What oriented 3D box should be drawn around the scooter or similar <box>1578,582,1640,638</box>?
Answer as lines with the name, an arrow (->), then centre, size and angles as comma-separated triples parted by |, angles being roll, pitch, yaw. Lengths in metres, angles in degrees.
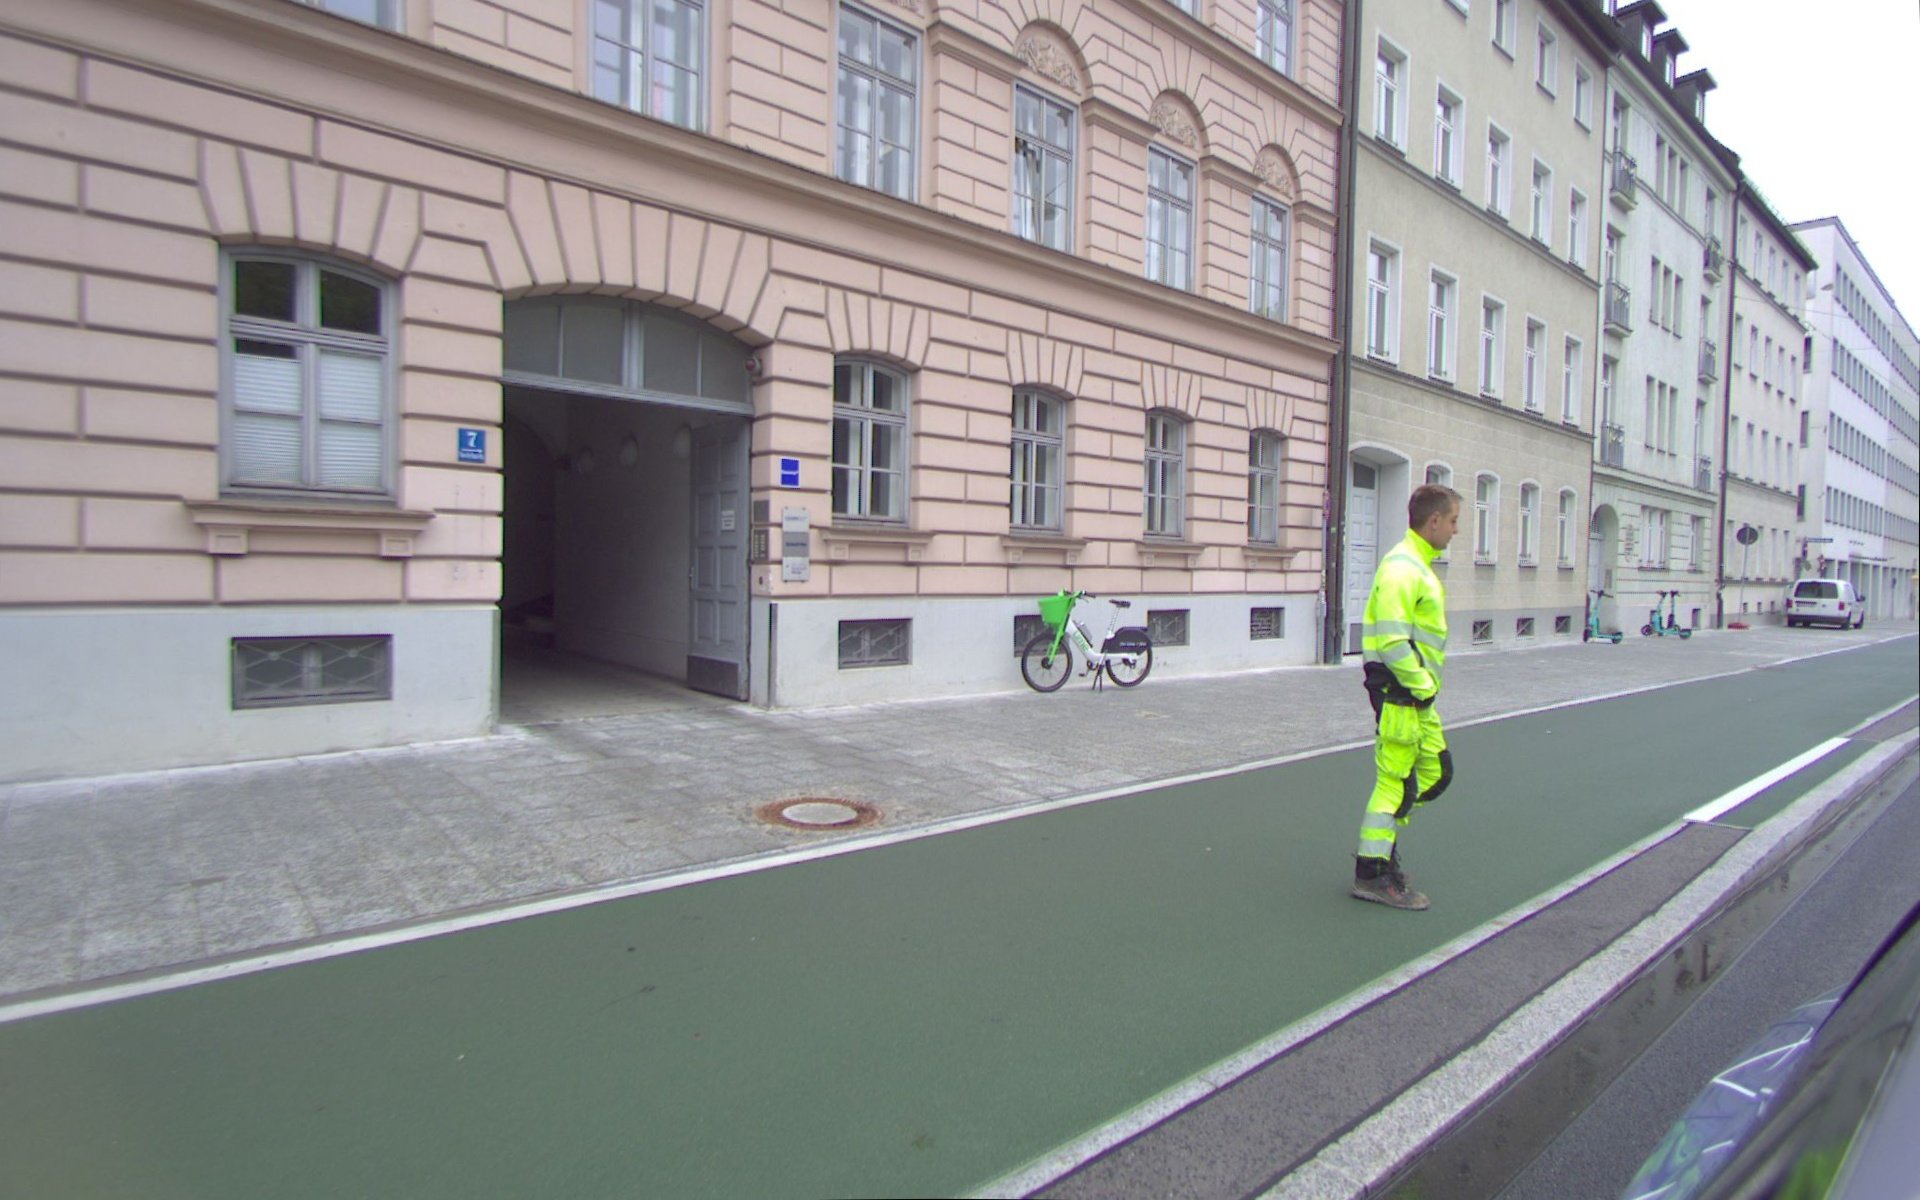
scooter or similar -> 15.137, 0.231, 23.624 | 1.055, 1.260, 0.554 | 1, 1, -6

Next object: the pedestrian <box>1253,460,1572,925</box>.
pedestrian -> 1.901, 0.356, 4.400 | 0.974, 1.825, 0.815 | 1, 1, 0

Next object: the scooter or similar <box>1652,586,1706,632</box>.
scooter or similar -> 19.668, 0.237, 27.693 | 1.059, 1.207, 0.436 | 2, 1, 10

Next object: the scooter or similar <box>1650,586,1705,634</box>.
scooter or similar -> 18.860, 0.242, 26.619 | 1.063, 1.207, 0.451 | 2, 2, 20

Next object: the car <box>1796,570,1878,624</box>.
car -> 32.456, -0.144, 37.427 | 3.931, 1.854, 1.764 | -1, 2, -42

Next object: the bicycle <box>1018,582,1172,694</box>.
bicycle -> 1.550, 0.405, 11.511 | 1.690, 1.191, 0.558 | 0, 2, -27
